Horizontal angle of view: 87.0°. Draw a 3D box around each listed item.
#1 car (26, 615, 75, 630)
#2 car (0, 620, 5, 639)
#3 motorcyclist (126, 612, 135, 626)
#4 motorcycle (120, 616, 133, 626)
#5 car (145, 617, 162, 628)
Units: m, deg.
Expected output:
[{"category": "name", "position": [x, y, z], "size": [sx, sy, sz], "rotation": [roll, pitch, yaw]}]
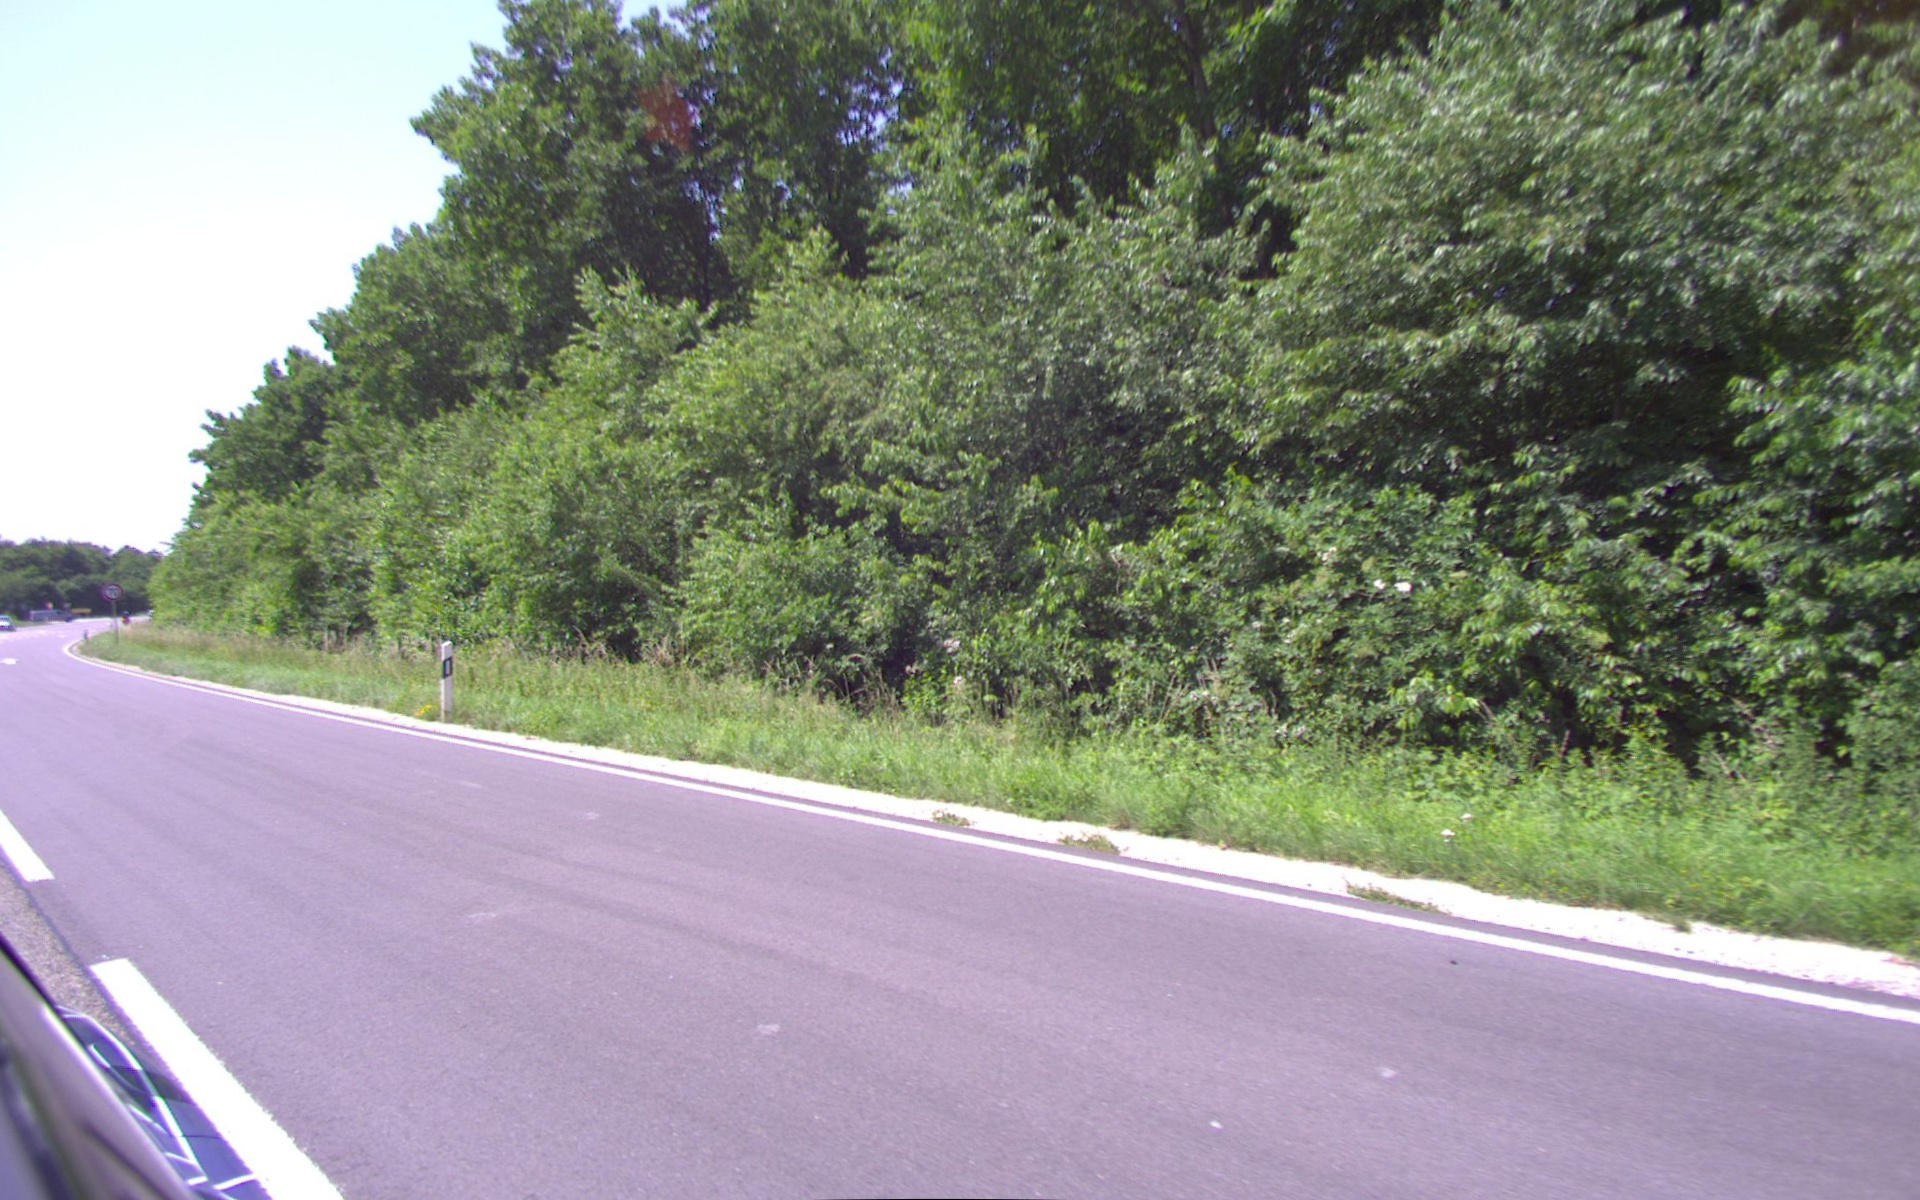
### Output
[{"category": "car", "position": [-136.463, 3.308, 151.868], "size": [2.012, 1.921, 5.160], "rotation": [0, 2, 40]}, {"category": "car", "position": [-95.692, 2.906, 100.045], "size": [1.783, 1.821, 4.005], "rotation": [0, -1, -42]}, {"category": "motorcyclist", "position": [-101.722, 2.319, 124.062], "size": [0.623, 1.765, 0.821], "rotation": [-1, -1, 44]}, {"category": "motorcycle", "position": [-102.289, 2.599, 124.199], "size": [2.683, 1.260, 0.936], "rotation": [-1, -1, 45]}, {"category": "car", "position": [-122.944, 3.378, 154.174], "size": [1.780, 1.649, 4.217], "rotation": [0, 0, -42]}]
